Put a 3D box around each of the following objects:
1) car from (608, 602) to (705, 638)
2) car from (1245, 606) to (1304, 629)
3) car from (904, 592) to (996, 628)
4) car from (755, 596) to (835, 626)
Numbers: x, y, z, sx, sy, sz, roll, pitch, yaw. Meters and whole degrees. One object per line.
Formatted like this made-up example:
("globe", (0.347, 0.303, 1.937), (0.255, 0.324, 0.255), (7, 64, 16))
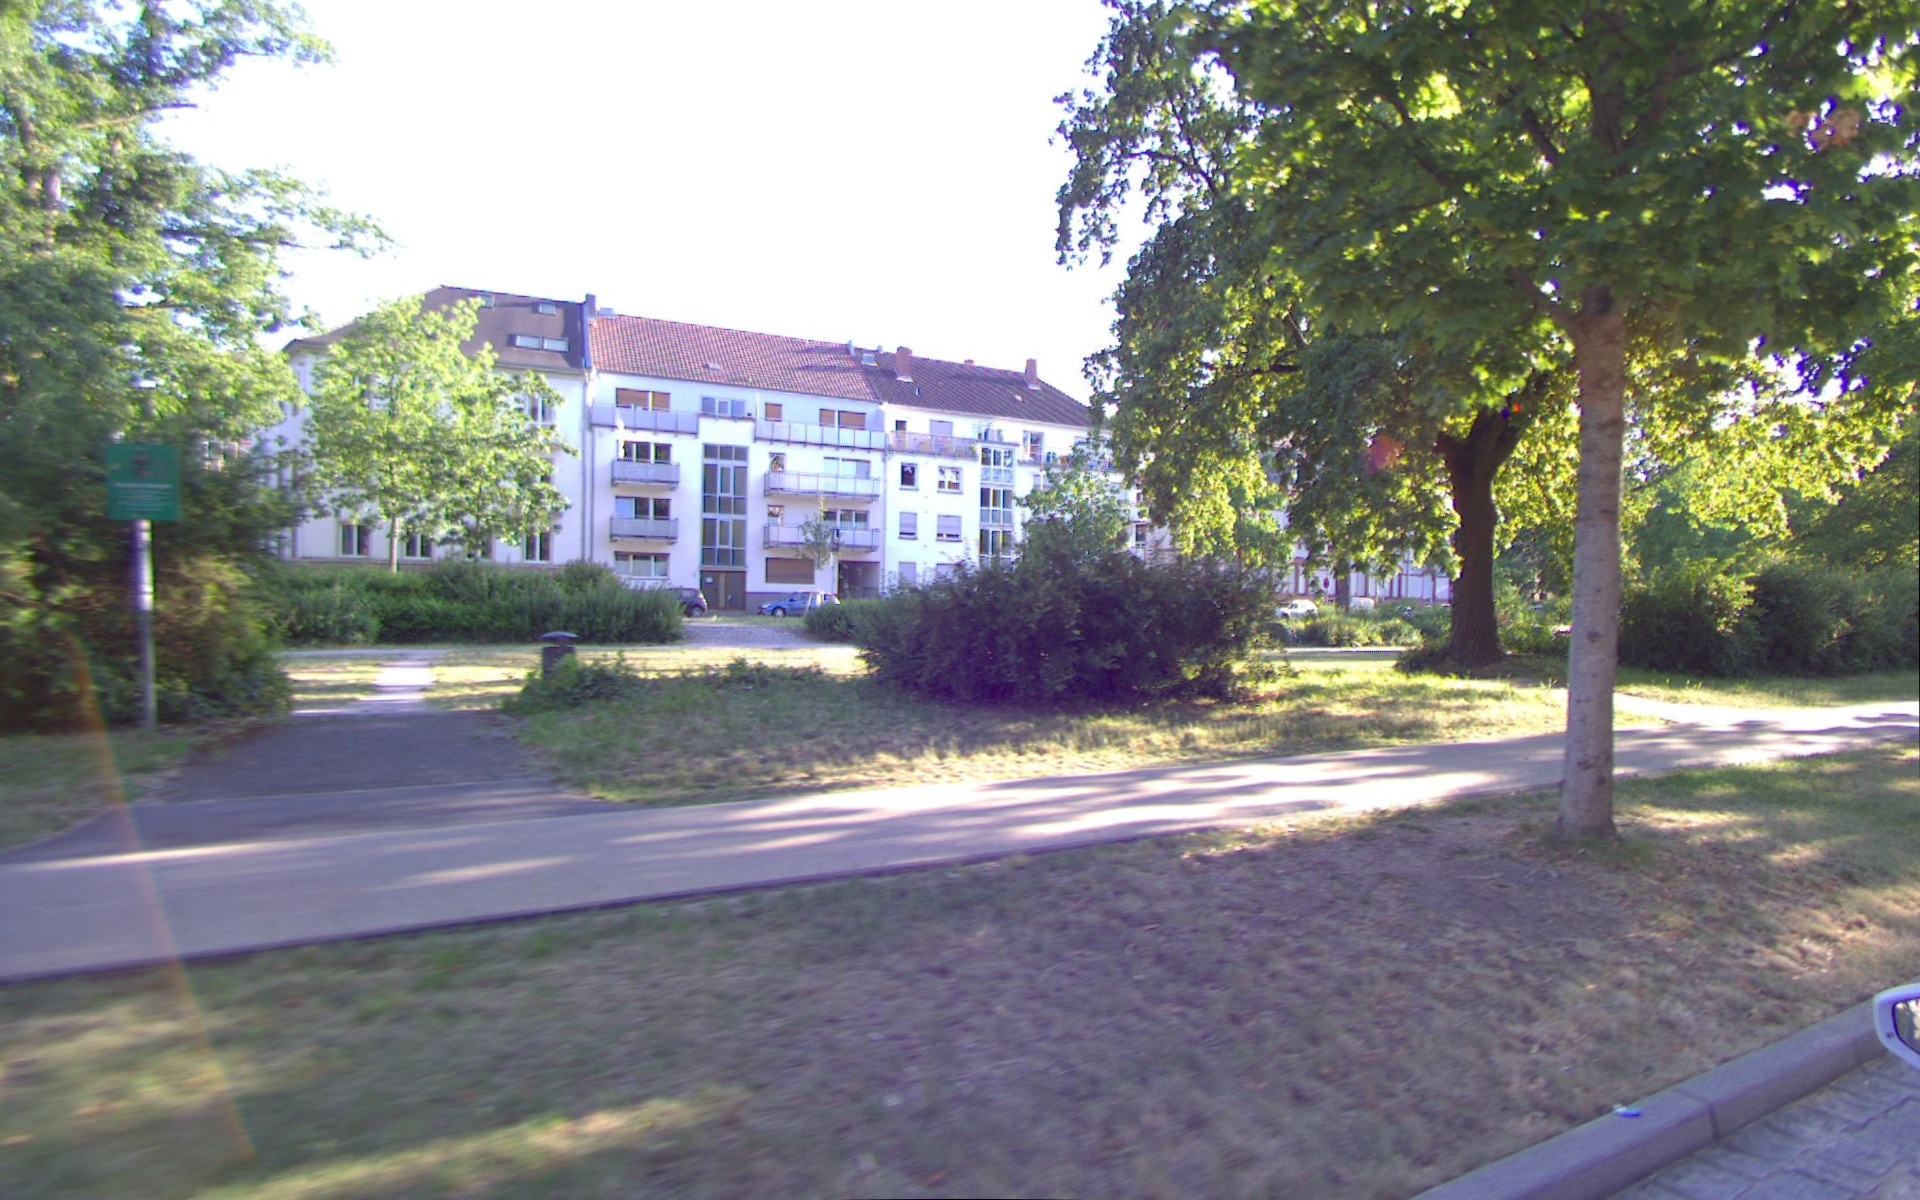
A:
("car", (-14.345, 0.945, 47.470), (4.157, 1.603, 1.926), (1, 0, -23))
("car", (20.383, 1.140, 65.070), (3.819, 1.333, 1.624), (1, 1, -33))
("car", (-0.534, 0.531, 53.823), (4.524, 1.877, 1.986), (1, 0, -27))
("car", (-8.222, 0.513, 49.977), (3.659, 1.391, 1.611), (0, 2, -23))
